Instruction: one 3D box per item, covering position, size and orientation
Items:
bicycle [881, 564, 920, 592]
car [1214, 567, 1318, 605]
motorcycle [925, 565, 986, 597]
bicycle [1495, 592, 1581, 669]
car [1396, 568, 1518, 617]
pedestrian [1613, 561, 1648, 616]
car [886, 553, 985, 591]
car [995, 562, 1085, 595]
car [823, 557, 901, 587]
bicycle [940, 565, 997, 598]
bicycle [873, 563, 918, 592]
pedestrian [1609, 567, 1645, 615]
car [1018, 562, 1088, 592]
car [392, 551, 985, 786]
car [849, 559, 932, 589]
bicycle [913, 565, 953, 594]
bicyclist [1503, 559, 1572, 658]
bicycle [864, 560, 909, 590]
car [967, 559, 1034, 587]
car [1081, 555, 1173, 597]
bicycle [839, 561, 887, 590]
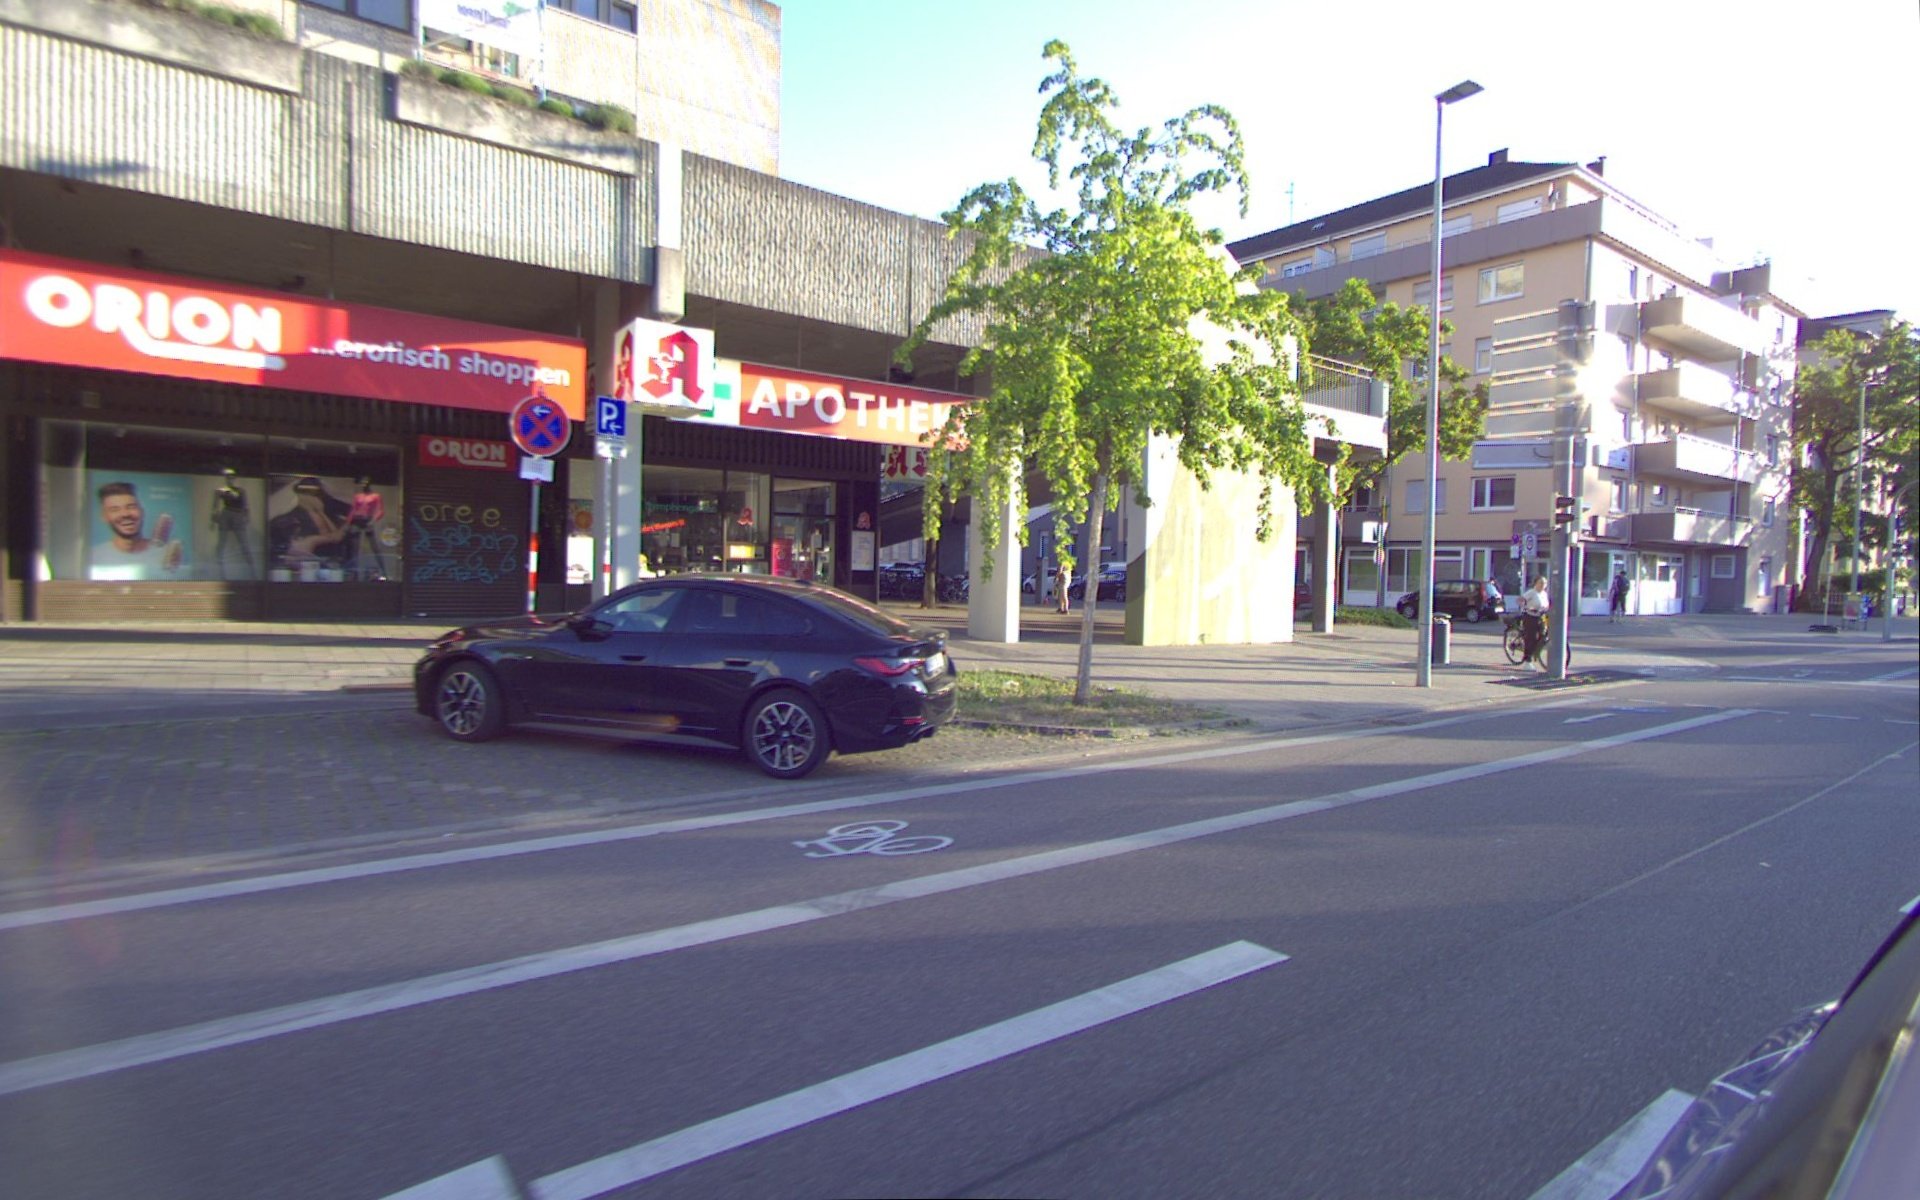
[{"bbox_3d":[-2.380,-0.874,40.619,0.647,1.050,1.544,4,2,41],"label":"bicycle"},{"bbox_3d":[13.546,-0.669,44.932,1.629,1.457,4.223,-5,5,-40],"label":"car"},{"bbox_3d":[-0.150,-0.666,35.512,2.116,1.071,0.786,1,2,-41],"label":"motorcycle"},{"bbox_3d":[10.426,0.510,18.334,0.809,1.187,2.138,3,3,16],"label":"bicycle"},{"bbox_3d":[18.535,-0.312,37.874,1.586,1.578,3.817,-4,5,-35],"label":"car"},{"bbox_3d":[23.382,-0.397,35.281,0.534,1.882,0.840,-1,2,-36],"label":"pedestrian"},{"bbox_3d":[-1.138,-1.279,48.122,4.538,1.714,1.753,0,0,-36],"label":"car"},{"bbox_3d":[3.911,-1.092,50.194,1.773,1.488,4.620,2,1,-38],"label":"car"},{"bbox_3d":[-5.267,-1.493,54.743,4.009,1.555,1.639,0,0,-40],"label":"car"},{"bbox_3d":[0.287,-0.621,34.724,1.889,1.071,0.782,1,2,-41],"label":"bicycle"},{"bbox_3d":[-2.492,-0.874,39.368,1.798,1.050,0.484,1,2,-41],"label":"bicycle"},{"bbox_3d":[23.706,-0.334,35.955,0.752,1.634,0.822,-1,2,-35],"label":"pedestrian"},{"bbox_3d":[5.129,-1.304,56.149,1.576,1.504,3.999,-1,3,-37],"label":"car"},{"bbox_3d":[-2.205,0.419,8.574,4.538,1.470,1.807,3,3,13],"label":"car"},{"bbox_3d":[-3.594,-1.308,52.569,4.106,1.479,1.751,0,0,-40],"label":"car"},{"bbox_3d":[-1.010,-0.784,38.293,1.540,1.050,0.484,1,2,-41],"label":"bicycle"},{"bbox_3d":[10.445,0.135,18.336,0.809,1.712,0.956,2,3,17],"label":"bicyclist"},{"bbox_3d":[-2.992,-1.012,41.332,0.647,1.142,1.921,4,2,41],"label":"bicycle"},{"bbox_3d":[2.345,-1.613,59.698,1.576,1.504,4.249,-1,3,-37],"label":"car"},{"bbox_3d":[8.463,-1.283,51.655,1.964,1.886,4.539,-5,6,-37],"label":"car"},{"bbox_3d":[-3.940,-0.986,41.378,0.647,1.142,2.051,4,2,41],"label":"bicycle"}]
